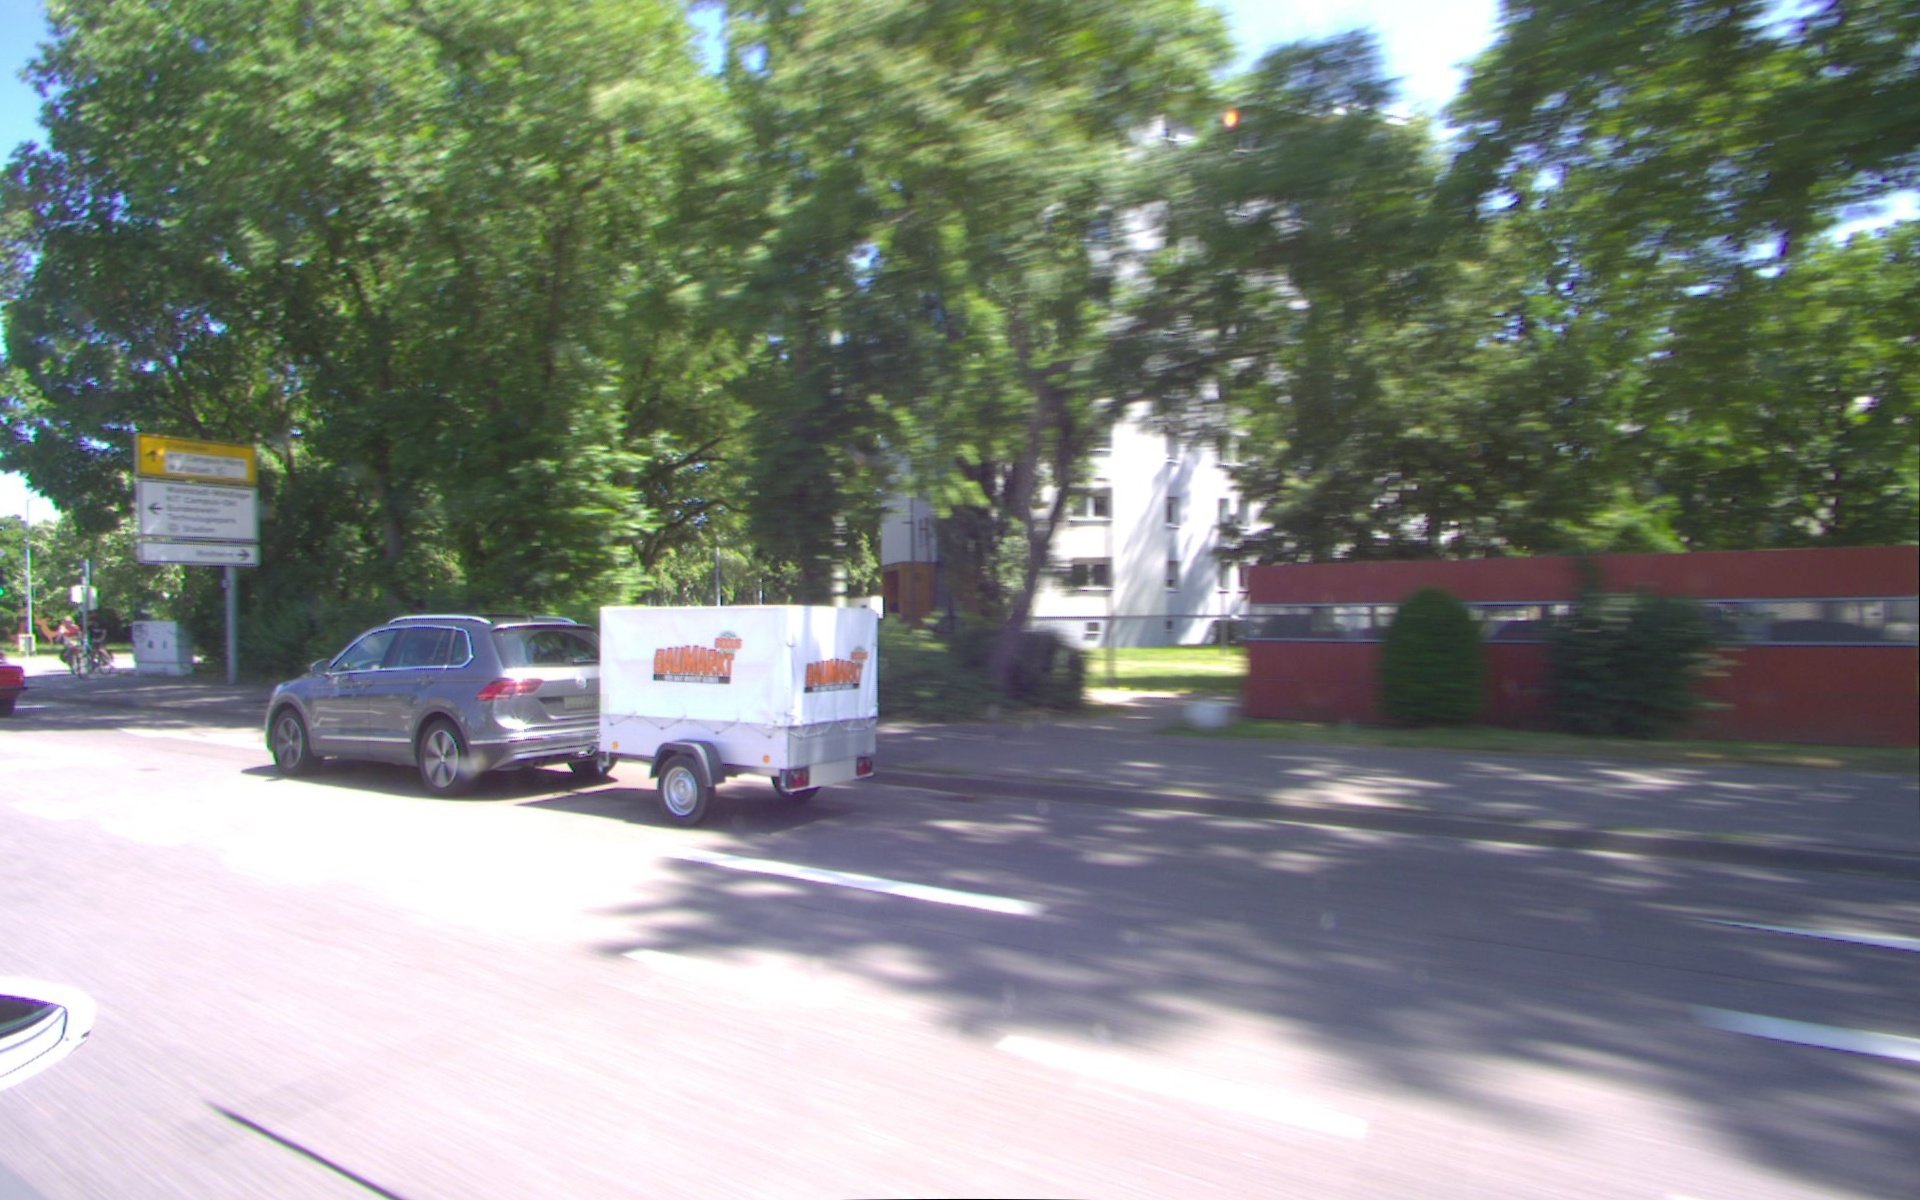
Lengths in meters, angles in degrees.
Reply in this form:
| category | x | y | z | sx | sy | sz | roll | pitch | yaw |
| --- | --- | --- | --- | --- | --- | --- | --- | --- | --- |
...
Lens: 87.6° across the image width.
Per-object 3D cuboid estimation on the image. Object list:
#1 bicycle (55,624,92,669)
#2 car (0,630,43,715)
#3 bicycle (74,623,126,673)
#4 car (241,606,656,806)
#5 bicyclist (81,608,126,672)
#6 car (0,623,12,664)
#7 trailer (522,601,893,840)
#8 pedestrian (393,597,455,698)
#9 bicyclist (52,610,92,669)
| category | x | y | z | sx | sy | sz | roll | pitch | yaw |
| --- | --- | --- | --- | --- | --- | --- | --- | --- | --- |
| bicycle | -27.230 | 1.419 | 30.759 | 1.608 | 1.322 | 0.641 | -1 | 2 | 43 |
| car | -17.957 | 1.221 | 17.509 | 4.203 | 1.414 | 1.653 | -1 | -2 | 30 |
| bicycle | -23.765 | 1.312 | 27.691 | 0.715 | 1.313 | 1.299 | -3 | 1 | -25 |
| car | -5.289 | 0.938 | 10.222 | 4.333 | 1.675 | 1.698 | -1 | -2 | 30 |
| bicyclist | -23.868 | 1.108 | 27.911 | 0.715 | 1.726 | 0.676 | -3 | 2 | -26 |
| car | -35.881 | 1.572 | 34.900 | 1.963 | 1.523 | 4.499 | 0 | -1 | -11 |
| trailer | -2.139 | 0.891 | 8.441 | 2.813 | 1.690 | 1.467 | -1 | -2 | 30 |
| pedestrian | -9.952 | 0.860 | 18.609 | 0.683 | 1.840 | 0.752 | 0 | 1 | 30 |
| bicyclist | -27.417 | 1.205 | 30.926 | 0.671 | 1.750 | 0.797 | -1 | 2 | 42 |
